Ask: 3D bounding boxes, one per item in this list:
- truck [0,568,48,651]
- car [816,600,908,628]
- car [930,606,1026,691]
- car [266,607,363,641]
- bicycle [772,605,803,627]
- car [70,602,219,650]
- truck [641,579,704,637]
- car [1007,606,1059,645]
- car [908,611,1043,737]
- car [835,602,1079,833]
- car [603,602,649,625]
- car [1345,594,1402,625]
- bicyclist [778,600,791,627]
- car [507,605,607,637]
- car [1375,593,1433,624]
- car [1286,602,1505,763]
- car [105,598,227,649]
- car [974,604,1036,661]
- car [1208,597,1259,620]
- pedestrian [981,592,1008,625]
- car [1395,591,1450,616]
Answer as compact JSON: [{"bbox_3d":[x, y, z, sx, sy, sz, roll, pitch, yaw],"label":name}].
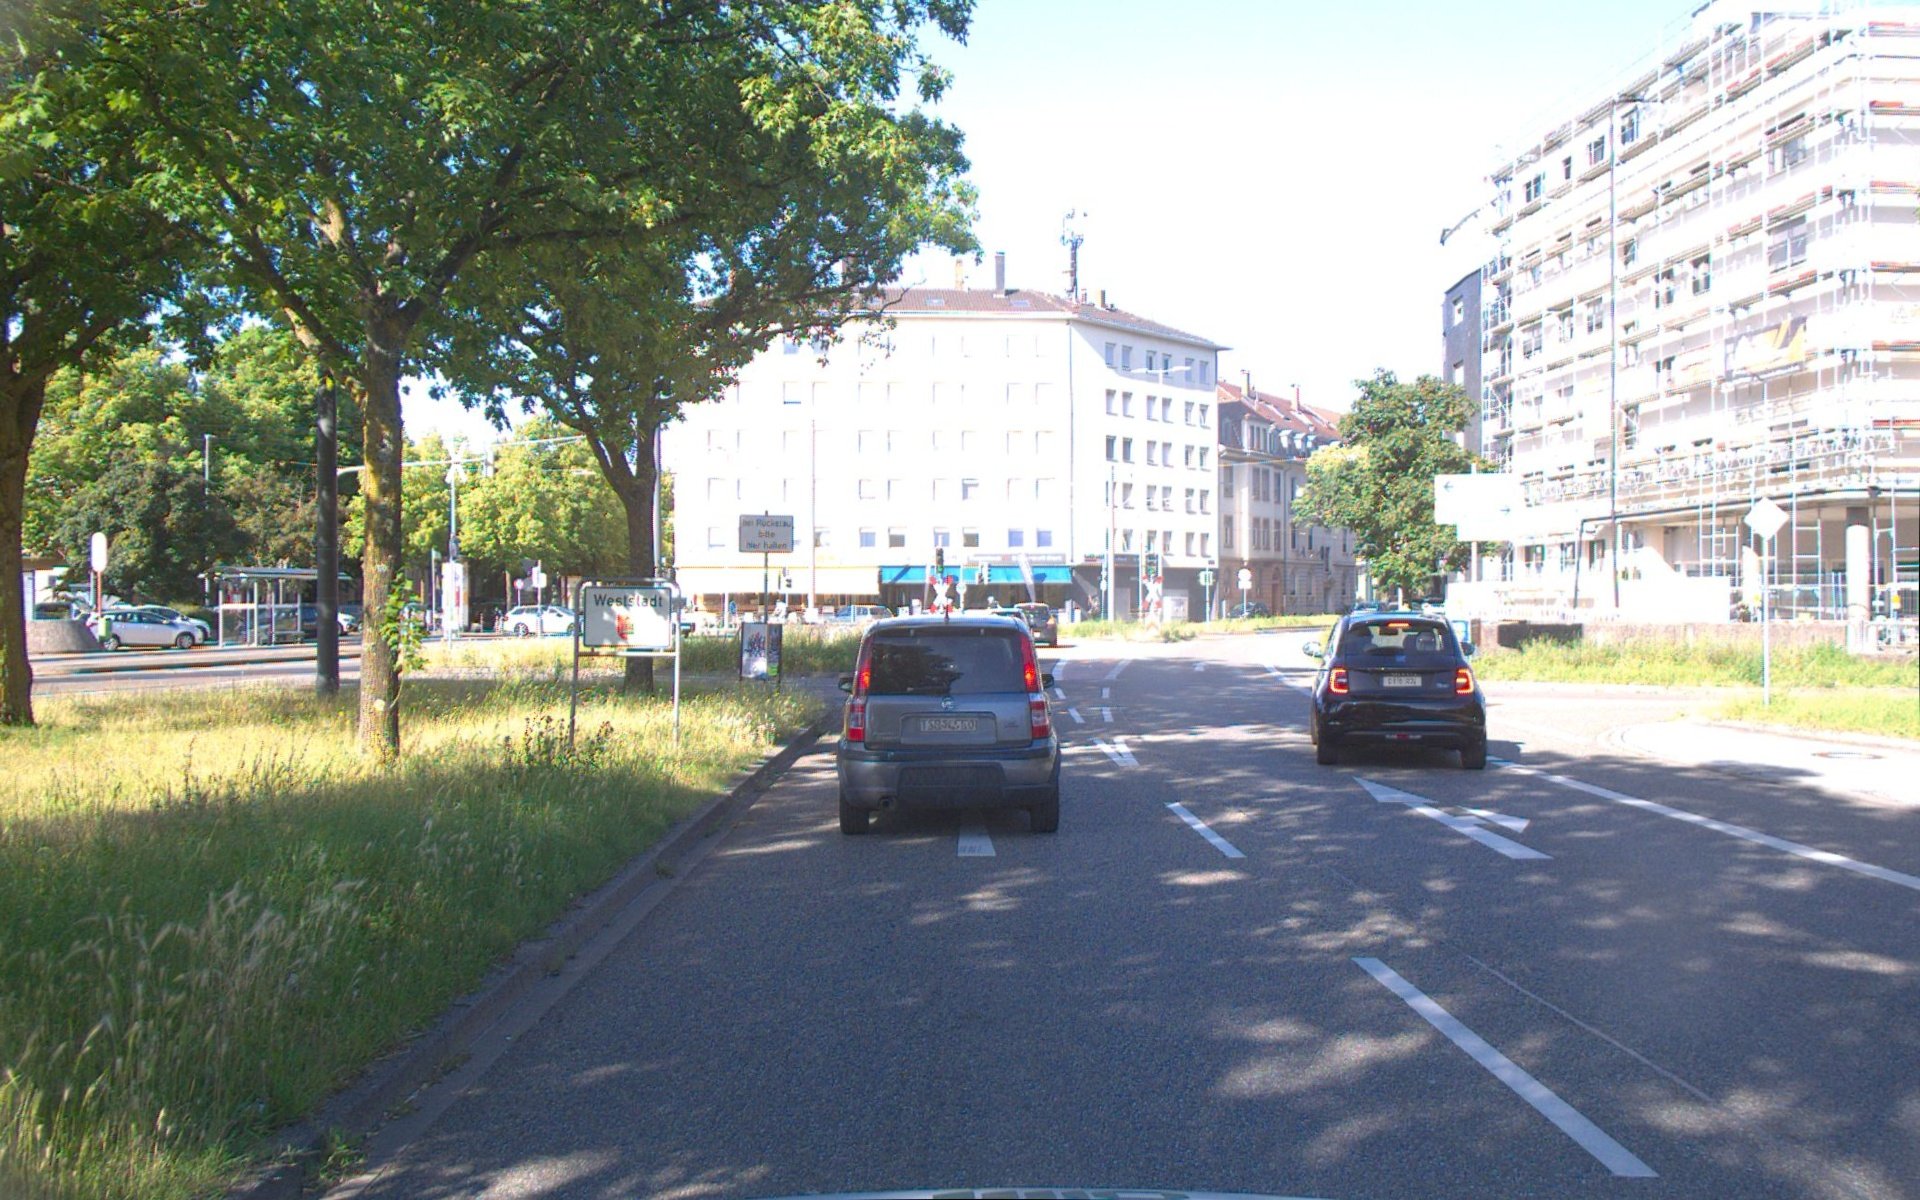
[{"bbox_3d":[-36.392,0.328,62.419,4.741,3.047,1.989,1,1,41],"label":"truck"},{"bbox_3d":[-4.620,0.661,77.883,3.918,1.265,1.993,0,0,35],"label":"car"},{"bbox_3d":[0.363,0.882,31.883,1.723,1.512,4.294,0,0,1],"label":"car"},{"bbox_3d":[-30.949,1.131,79.374,3.910,1.599,1.998,0,0,-6],"label":"car"},{"bbox_3d":[-8.808,0.821,84.520,1.553,1.109,0.530,0,0,-15],"label":"bicycle"},{"bbox_3d":[-29.577,0.911,60.073,1.839,1.571,4.522,3,2,41],"label":"car"},{"bbox_3d":[-12.631,0.336,72.506,1.765,2.469,4.078,0,0,-24],"label":"truck"},{"bbox_3d":[2.468,0.866,56.516,1.656,1.275,3.626,0,-1,1],"label":"car"},{"bbox_3d":[0.140,0.888,21.392,1.588,1.454,3.687,0,0,-1],"label":"car"},{"bbox_3d":[-0.009,0.790,12.717,1.626,1.536,3.251,0,0,0],"label":"car"},{"bbox_3d":[-19.663,0.784,97.415,1.953,1.333,3.999,0,0,-1],"label":"car"},{"bbox_3d":[20.166,0.451,80.578,1.742,1.468,3.611,0,1,31],"label":"car"},{"bbox_3d":[-8.963,0.694,84.508,0.585,1.380,0.530,0,0,-14],"label":"bicyclist"},{"bbox_3d":[-19.141,0.995,78.642,4.296,1.474,1.669,0,0,2],"label":"car"},{"bbox_3d":[22.762,0.415,84.769,1.786,1.534,3.990,-1,0,32],"label":"car"},{"bbox_3d":[4.537,0.797,17.694,1.639,1.529,3.564,0,0,4],"label":"car"},{"bbox_3d":[-30.318,0.864,63.270,1.724,1.747,3.997,3,2,25],"label":"car"},{"bbox_3d":[1.240,0.863,44.782,1.611,1.463,3.397,0,0,2],"label":"car"},{"bbox_3d":[17.023,0.535,102.913,1.759,1.420,3.714,0,0,33],"label":"car"},{"bbox_3d":[1.571,0.392,75.325,0.769,1.452,0.925,2,-1,-40],"label":"pedestrian"},{"bbox_3d":[31.124,0.228,111.477,1.872,1.621,3.985,0,0,-14],"label":"car"}]
